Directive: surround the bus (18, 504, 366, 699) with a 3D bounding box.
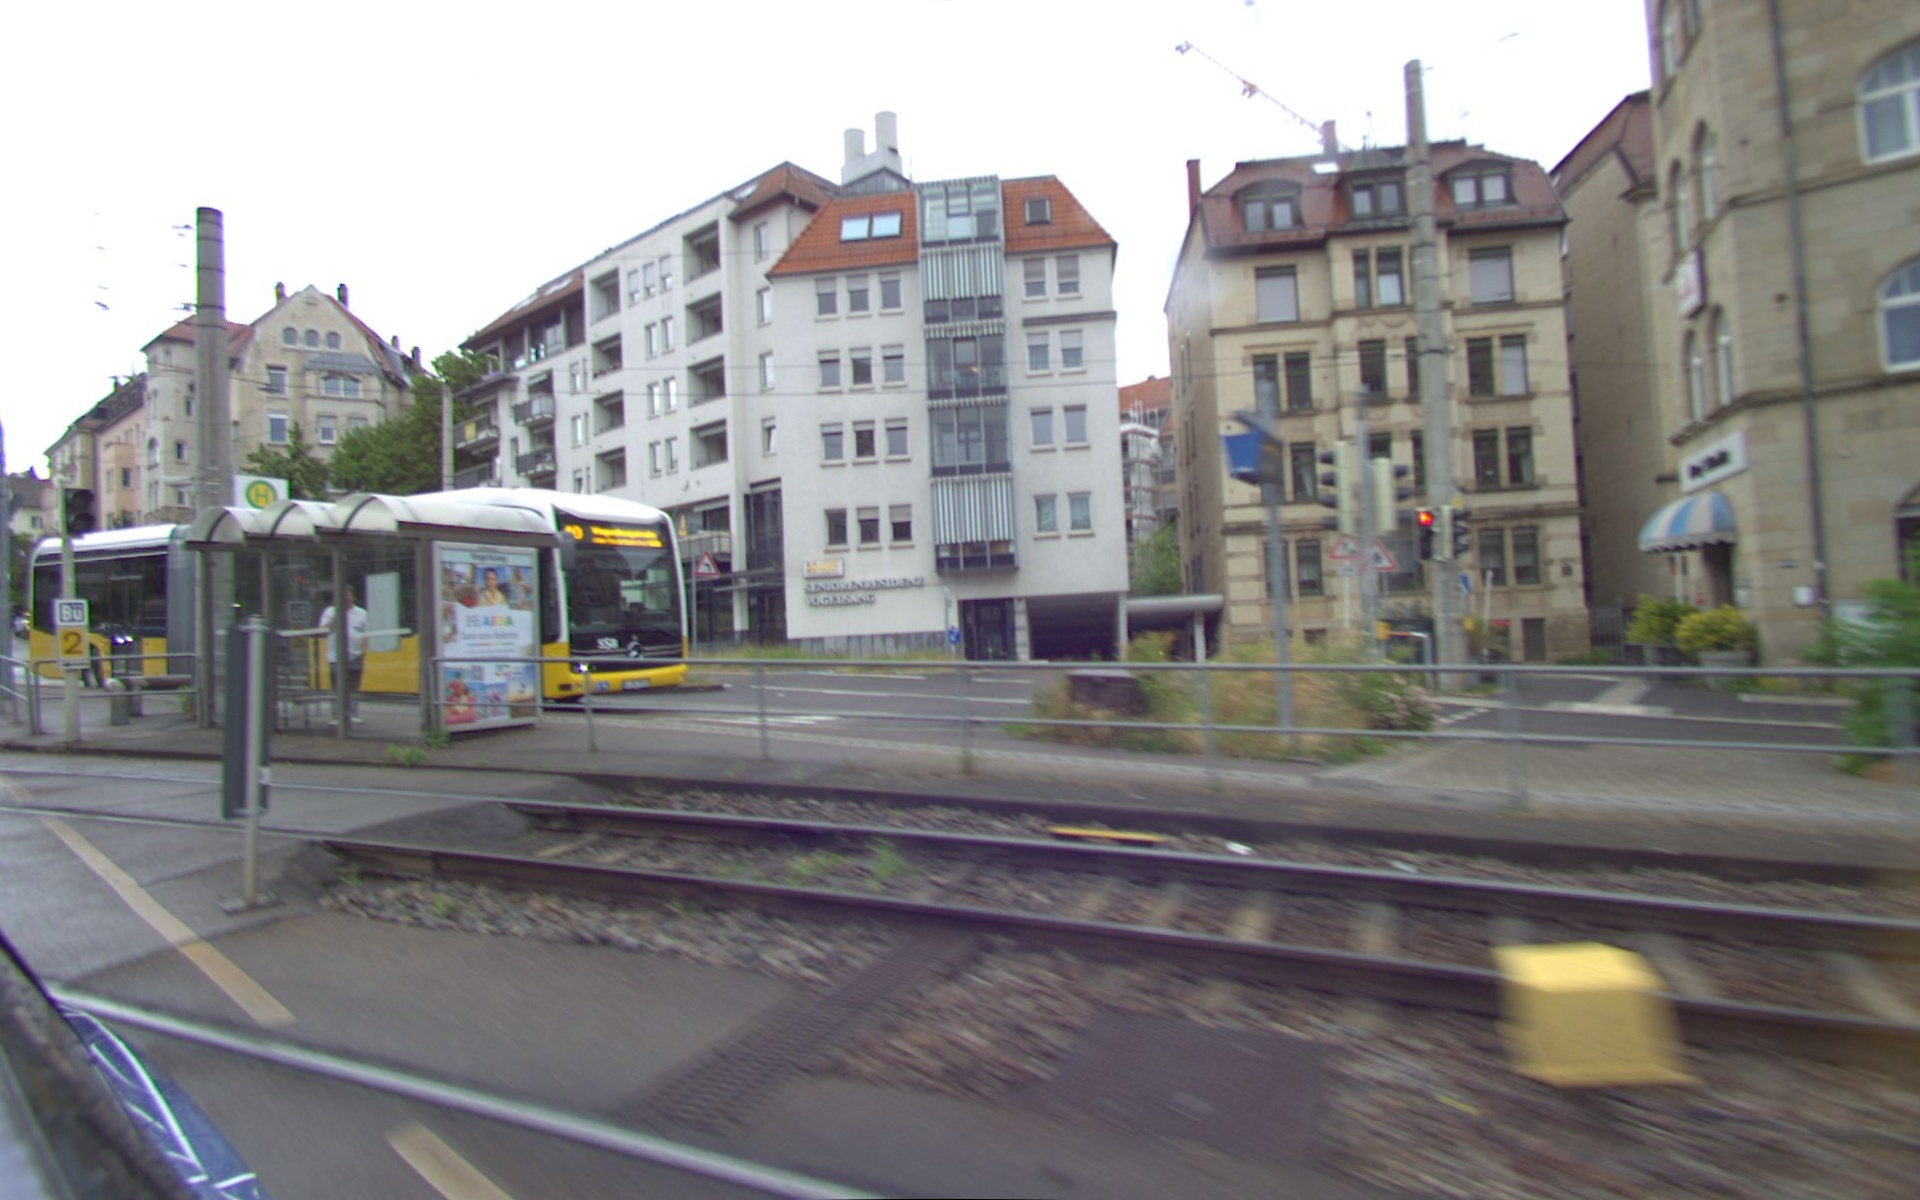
[{"bbox_3d":[-16.539,0.101,21.529,9.072,3.496,2.572,-1,-2,30],"label":"bus"}]

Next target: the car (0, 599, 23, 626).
[{"bbox_3d":[-67.122,0.877,70.740,3.658,1.849,1.661,-1,-2,36],"label":"car"}]

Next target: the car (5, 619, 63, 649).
[{"bbox_3d":[-58.847,2.161,64.294,4.275,1.849,1.784,-1,-4,36],"label":"car"}]

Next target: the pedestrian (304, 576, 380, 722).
[{"bbox_3d":[-7.707,0.597,12.624,0.540,1.765,0.572,-1,-2,27],"label":"pedestrian"}]

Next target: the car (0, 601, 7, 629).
[{"bbox_3d":[-70.364,1.078,72.840,3.995,2.029,1.974,-1,-3,38],"label":"car"}]

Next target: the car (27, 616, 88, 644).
[{"bbox_3d":[-54.336,1.809,60.898,4.351,1.606,1.974,-1,-3,38],"label":"car"}]
